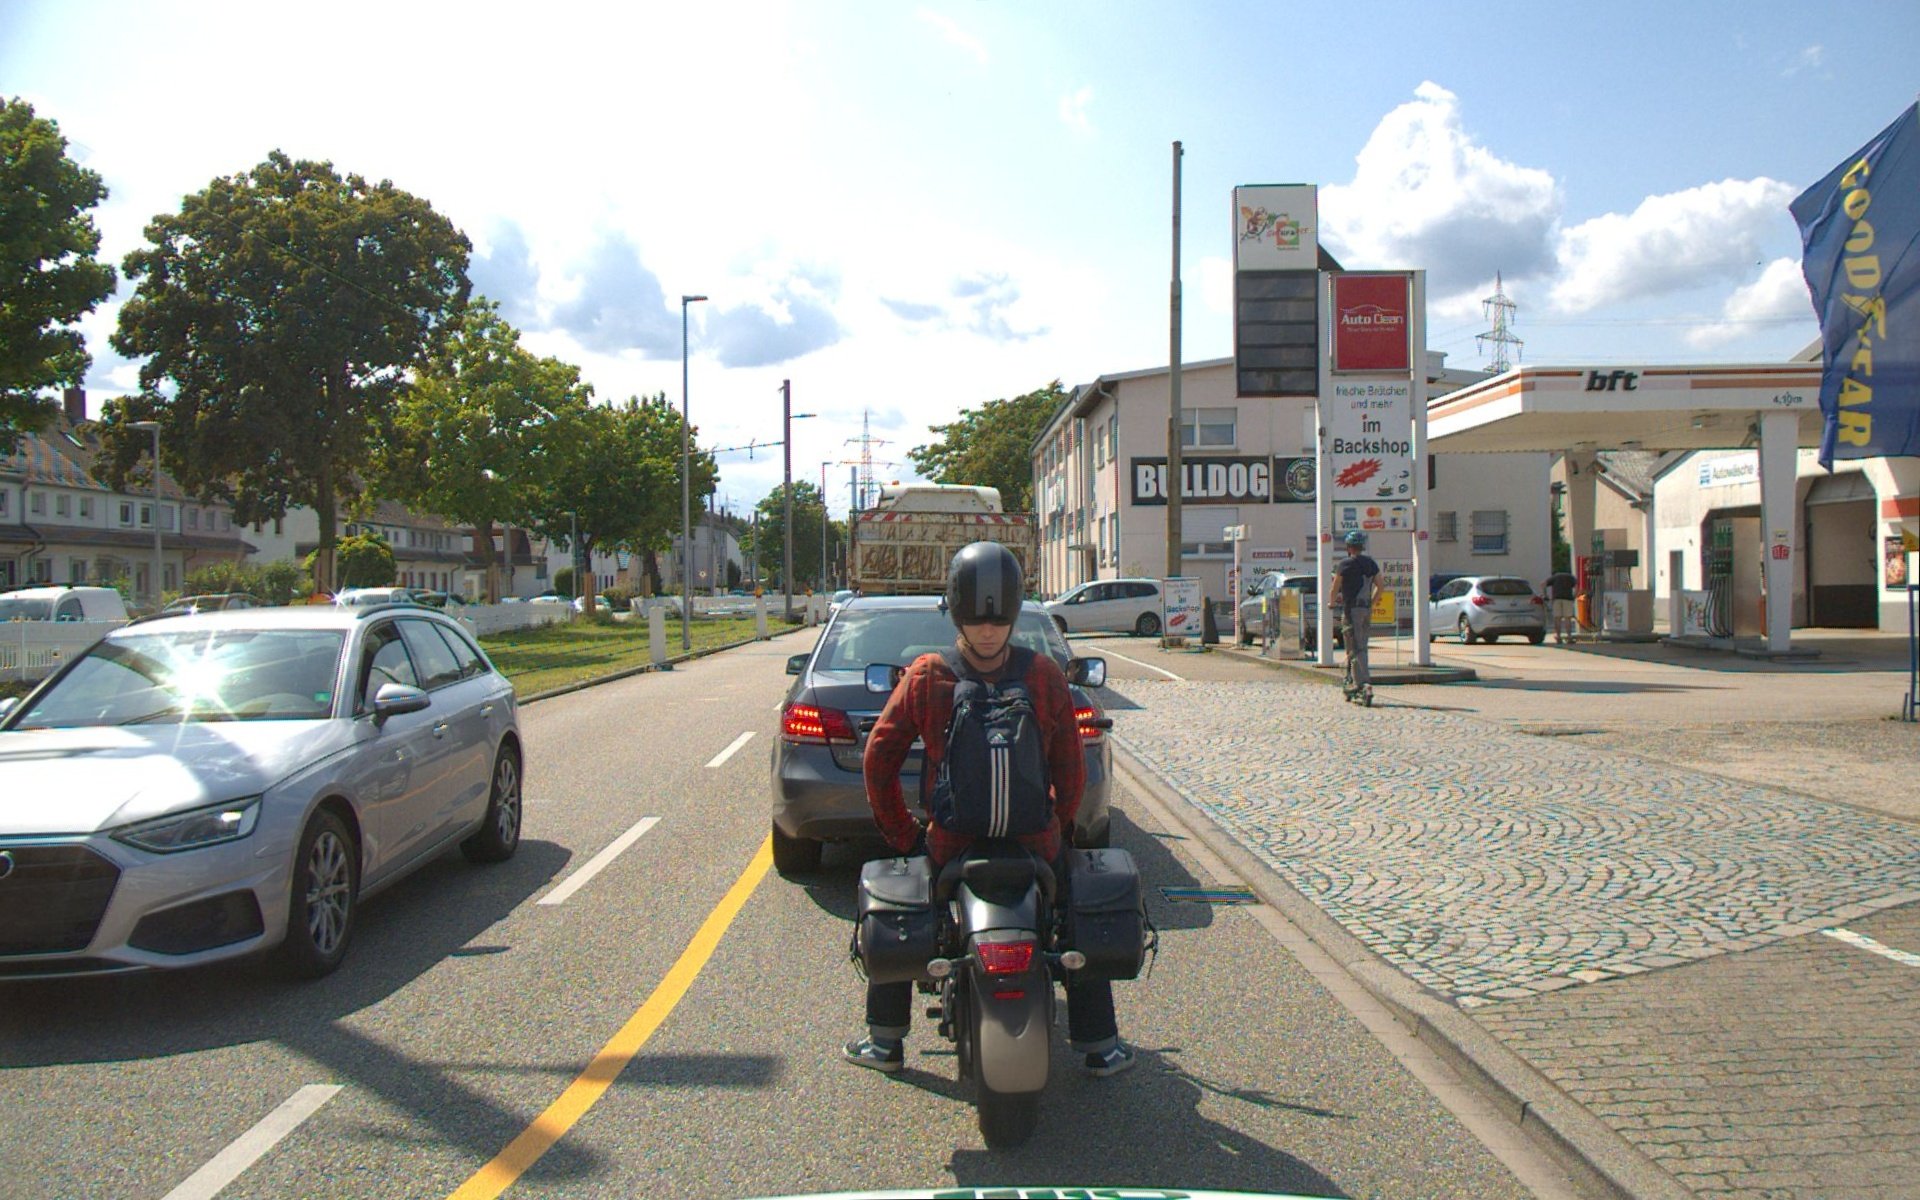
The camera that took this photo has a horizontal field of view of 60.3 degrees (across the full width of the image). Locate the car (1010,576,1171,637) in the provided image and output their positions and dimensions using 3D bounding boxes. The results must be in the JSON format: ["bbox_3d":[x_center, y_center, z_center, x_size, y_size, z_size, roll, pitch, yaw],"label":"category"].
[{"bbox_3d":[3.701,0.173,47.250,4.250,1.579,1.946,-2,0,-9],"label":"car"}]

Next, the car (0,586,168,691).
[{"bbox_3d":[-16.445,0.680,30.299,1.953,1.780,3.999,-2,0,-1],"label":"car"}]

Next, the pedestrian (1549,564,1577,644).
[{"bbox_3d":[13.074,0.092,35.867,0.388,1.718,0.485,-2,0,0],"label":"pedestrian"}]

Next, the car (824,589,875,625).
[{"bbox_3d":[-4.624,0.279,69.622,1.809,1.411,4.344,-2,0,0],"label":"car"}]

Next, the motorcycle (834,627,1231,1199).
[{"bbox_3d":[0.153,0.792,5.242,0.920,1.343,2.644,1,0,-1],"label":"motorcycle"}]

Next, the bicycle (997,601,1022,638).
[{"bbox_3d":[1.971,0.763,65.796,0.678,1.385,2.420,-1,1,8],"label":"bicycle"}]

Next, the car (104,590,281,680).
[{"bbox_3d":[-16.519,0.718,35.832,1.953,1.780,3.999,-2,0,-1],"label":"car"}]

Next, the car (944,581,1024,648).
[{"bbox_3d":[0.527,0.302,38.920,1.784,1.489,4.000,0,0,0],"label":"car"}]

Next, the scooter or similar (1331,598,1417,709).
[{"bbox_3d":[4.763,0.597,19.089,0.529,1.216,1.610,-1,0,-1],"label":"scooter or similar"}]

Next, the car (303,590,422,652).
[{"bbox_3d":[-16.978,0.575,47.200,1.953,1.634,3.999,-2,0,-1],"label":"car"}]

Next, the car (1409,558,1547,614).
[{"bbox_3d":[17.081,-0.452,54.658,3.906,1.677,1.965,-2,0,-2],"label":"car"}]

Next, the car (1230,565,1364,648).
[{"bbox_3d":[7.389,0.136,36.650,1.920,1.677,3.997,-2,0,-3],"label":"car"}]

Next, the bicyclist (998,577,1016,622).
[{"bbox_3d":[1.880,-0.019,65.681,0.657,1.774,0.813,-1,0,-1],"label":"bicyclist"}]

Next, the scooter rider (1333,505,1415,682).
[{"bbox_3d":[4.796,-0.069,19.189,0.702,1.997,0.785,-1,0,-1],"label":"scooter rider"}]

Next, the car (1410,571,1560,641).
[{"bbox_3d":[11.798,0.130,37.452,1.920,1.445,3.997,-2,0,-3],"label":"car"}]

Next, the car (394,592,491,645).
[{"bbox_3d":[-17.106,0.598,54.843,1.953,1.634,3.999,-2,0,-1],"label":"car"}]

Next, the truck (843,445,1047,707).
[{"bbox_3d":[-0.213,-0.348,26.044,2.557,3.312,9.181,-2,0,0],"label":"truck"}]

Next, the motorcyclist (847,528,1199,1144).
[{"bbox_3d":[0.162,0.636,5.062,0.920,1.643,1.204,1,0,-1],"label":"motorcyclist"}]

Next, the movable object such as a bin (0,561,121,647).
[{"bbox_3d":[-27.806,0.125,49.865,4.277,2.492,1.776,-1,0,-23],"label":"movable object such as a bin"}]

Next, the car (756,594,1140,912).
[{"bbox_3d":[-0.085,0.706,9.712,1.784,1.449,3.999,0,0,-1],"label":"car"}]

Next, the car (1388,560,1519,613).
[{"bbox_3d":[17.035,-0.467,57.203,3.906,1.677,1.965,-2,0,-2],"label":"car"}]

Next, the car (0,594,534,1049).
[{"bbox_3d":[-3.278,0.750,7.704,1.622,1.472,4.301,-2,1,-3],"label":"car"}]
